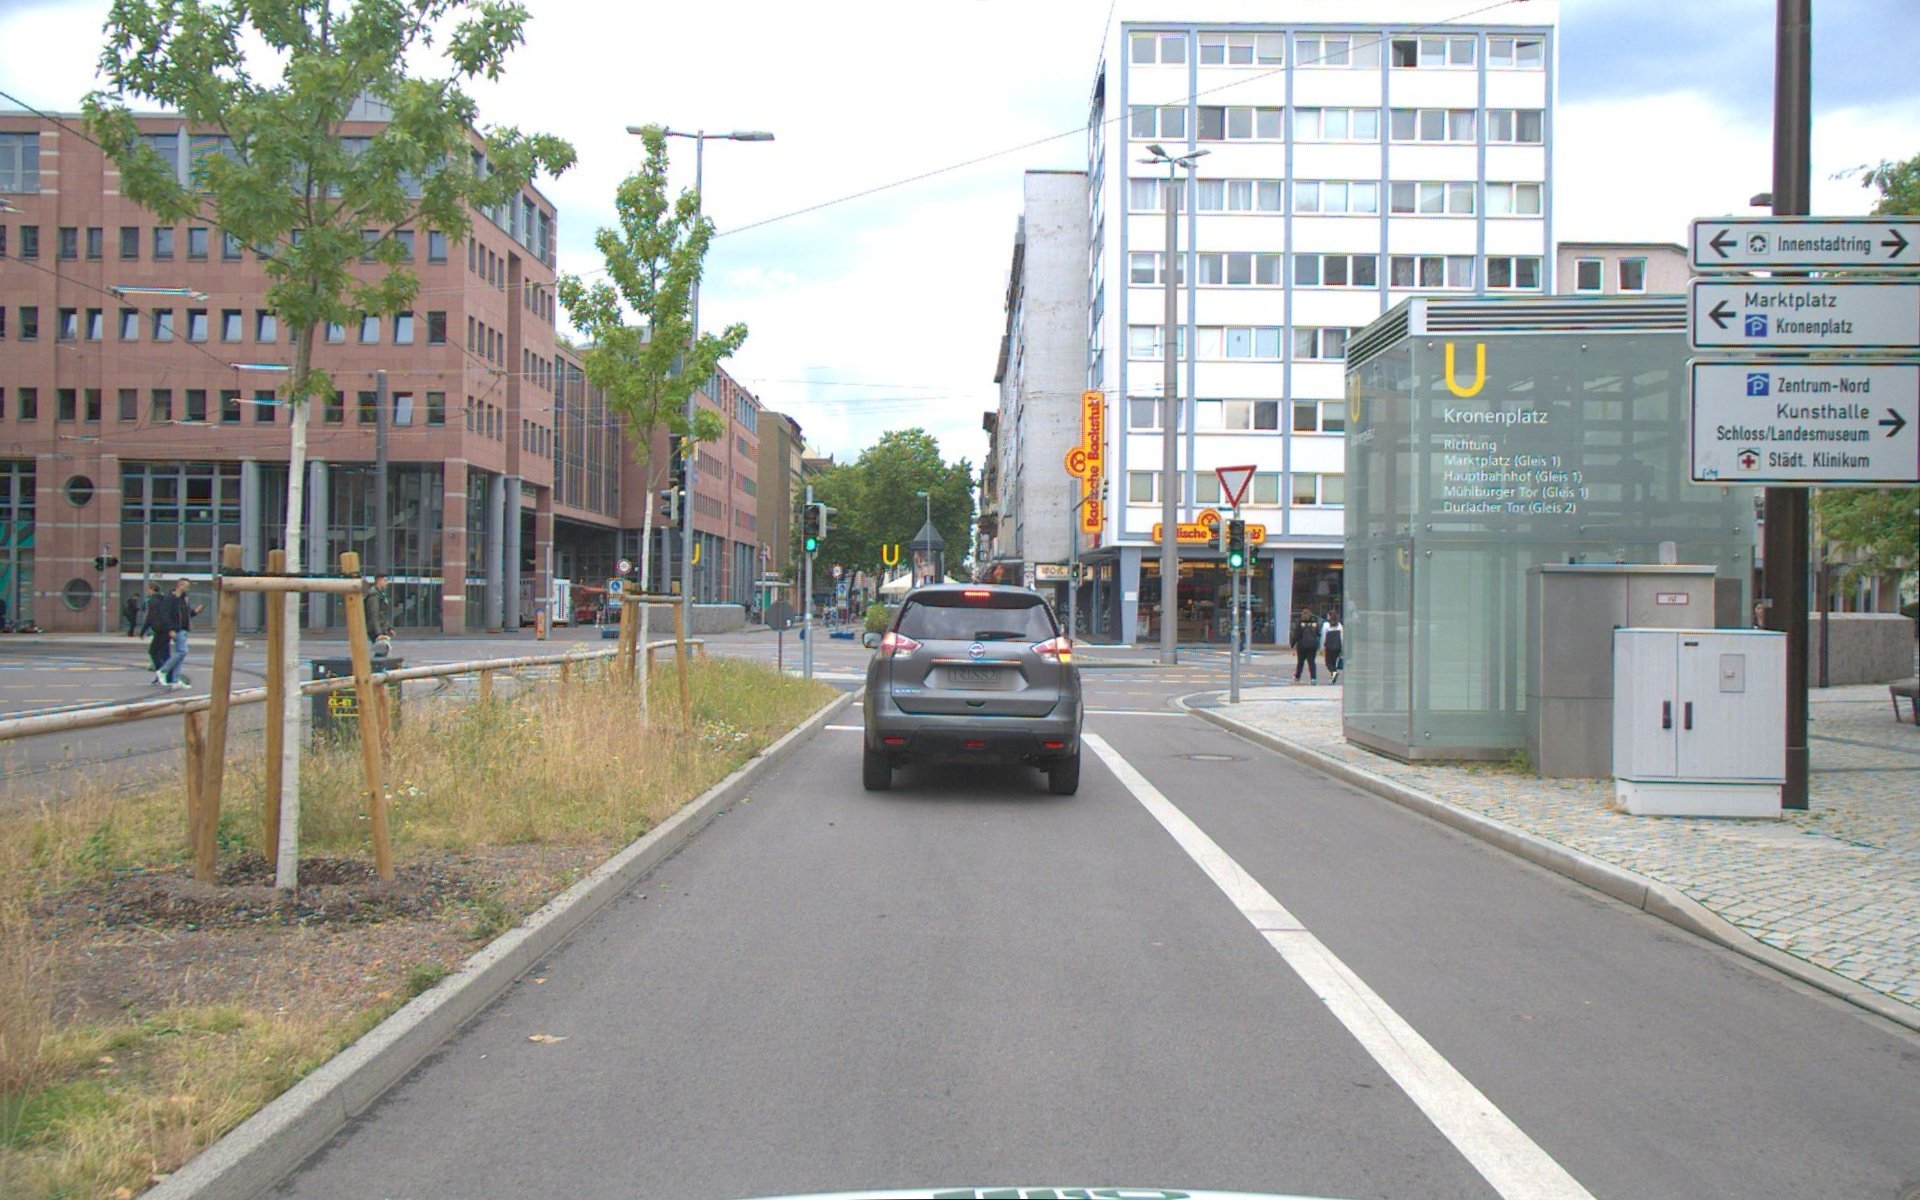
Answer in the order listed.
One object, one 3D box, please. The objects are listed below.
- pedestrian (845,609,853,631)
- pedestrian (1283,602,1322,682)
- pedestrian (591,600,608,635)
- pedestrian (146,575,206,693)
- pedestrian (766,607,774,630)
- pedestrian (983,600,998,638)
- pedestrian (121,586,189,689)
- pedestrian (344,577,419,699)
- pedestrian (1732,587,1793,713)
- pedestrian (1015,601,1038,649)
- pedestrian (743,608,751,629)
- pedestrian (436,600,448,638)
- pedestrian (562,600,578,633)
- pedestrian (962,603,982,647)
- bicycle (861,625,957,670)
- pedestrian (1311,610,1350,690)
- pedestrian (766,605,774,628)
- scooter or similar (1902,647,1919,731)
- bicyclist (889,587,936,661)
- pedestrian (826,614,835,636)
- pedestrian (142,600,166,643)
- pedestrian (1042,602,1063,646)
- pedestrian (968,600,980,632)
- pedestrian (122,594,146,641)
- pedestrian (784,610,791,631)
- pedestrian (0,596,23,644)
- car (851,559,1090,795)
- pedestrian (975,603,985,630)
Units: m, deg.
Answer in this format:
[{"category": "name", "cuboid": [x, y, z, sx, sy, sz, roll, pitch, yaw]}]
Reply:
[{"category": "pedestrian", "cuboid": [-8.912, 1.620, 132.743, 0.589, 1.744, 0.654, 2, -1, -7]}, {"category": "pedestrian", "cuboid": [7.830, 0.949, 37.829, 0.609, 1.792, 0.778, 2, -1, -8]}, {"category": "pedestrian", "cuboid": [-19.704, 0.933, 90.337, 0.723, 1.874, 0.697, 2, -1, -26]}, {"category": "pedestrian", "cuboid": [-12.988, 0.564, 27.421, 0.598, 1.923, 0.799, 1, -1, -2]}, {"category": "pedestrian", "cuboid": [-14.963, 1.436, 130.130, 0.589, 1.744, 0.654, 2, -1, -7]}, {"category": "pedestrian", "cuboid": [1.519, 0.939, 82.382, 0.723, 1.853, 0.662, 0, -1, -2]}, {"category": "pedestrian", "cuboid": [-13.800, 0.646, 28.371, 0.729, 1.713, 0.798, 2, -1, -4]}, {"category": "pedestrian", "cuboid": [-9.438, 0.617, 26.996, 0.878, 1.923, 0.799, 2, -1, -2]}, {"category": "pedestrian", "cuboid": [11.697, 0.723, 24.133, 0.657, 1.792, 0.642, 1, -1, 15]}, {"category": "pedestrian", "cuboid": [2.602, 0.963, 64.476, 0.699, 1.864, 1.015, 2, 0, -8]}, {"category": "pedestrian", "cuboid": [-17.451, 1.514, 135.565, 0.589, 1.744, 0.654, 2, -1, -7]}, {"category": "pedestrian", "cuboid": [-21.587, 0.790, 68.959, 0.442, 1.559, 0.519, 2, -1, -18]}, {"category": "pedestrian", "cuboid": [-22.473, 0.955, 95.316, 0.722, 1.874, 0.697, 2, -1, -25]}, {"category": "pedestrian", "cuboid": [0.488, 1.033, 68.697, 0.718, 1.776, 0.662, 2, -1, -8]}, {"category": "bicycle", "cuboid": [-1.351, 1.198, 42.417, 0.894, 1.063, 3.239, 1, -1, -33]}, {"category": "pedestrian", "cuboid": [8.488, 1.135, 37.904, 0.609, 1.792, 0.778, 2, -1, -8]}, {"category": "pedestrian", "cuboid": [-14.452, 1.243, 125.846, 0.589, 1.744, 0.654, 2, -1, -7]}, {"category": "scooter or similar", "cuboid": [11.969, 1.045, 19.340, 1.561, 0.965, 0.721, -2, -1, 38]}, {"category": "bicyclist", "cuboid": [-1.213, 0.616, 42.205, 0.827, 1.844, 0.867, 2, -1, -35]}, {"category": "pedestrian", "cuboid": [-9.110, 1.755, 116.100, 0.589, 1.563, 0.654, 2, -1, -7]}, {"category": "pedestrian", "cuboid": [-30.831, 0.824, 63.284, 0.732, 1.588, 0.570, 2, -2, -23]}, {"category": "pedestrian", "cuboid": [3.697, 0.940, 65.957, 0.695, 1.734, 0.735, 1, -1, 12]}, {"category": "pedestrian", "cuboid": [0.767, 0.887, 91.526, 0.630, 1.734, 0.559, 1, -1, 1]}, {"category": "pedestrian", "cuboid": [-31.132, 0.659, 62.342, 0.732, 1.717, 0.570, 2, -2, -24]}, {"category": "pedestrian", "cuboid": [-14.636, 1.731, 140.224, 0.589, 1.744, 0.654, 2, -1, -7]}, {"category": "pedestrian", "cuboid": [-31.840, 0.666, 55.235, 0.560, 1.588, 0.744, 1, -2, 5]}, {"category": "car", "cuboid": [0.137, 0.660, 14.997, 1.824, 1.806, 4.567, 0, -2, 1]}, {"category": "pedestrian", "cuboid": [1.308, 1.075, 106.357, 0.599, 1.734, 0.619, 1, -1, 1]}]
